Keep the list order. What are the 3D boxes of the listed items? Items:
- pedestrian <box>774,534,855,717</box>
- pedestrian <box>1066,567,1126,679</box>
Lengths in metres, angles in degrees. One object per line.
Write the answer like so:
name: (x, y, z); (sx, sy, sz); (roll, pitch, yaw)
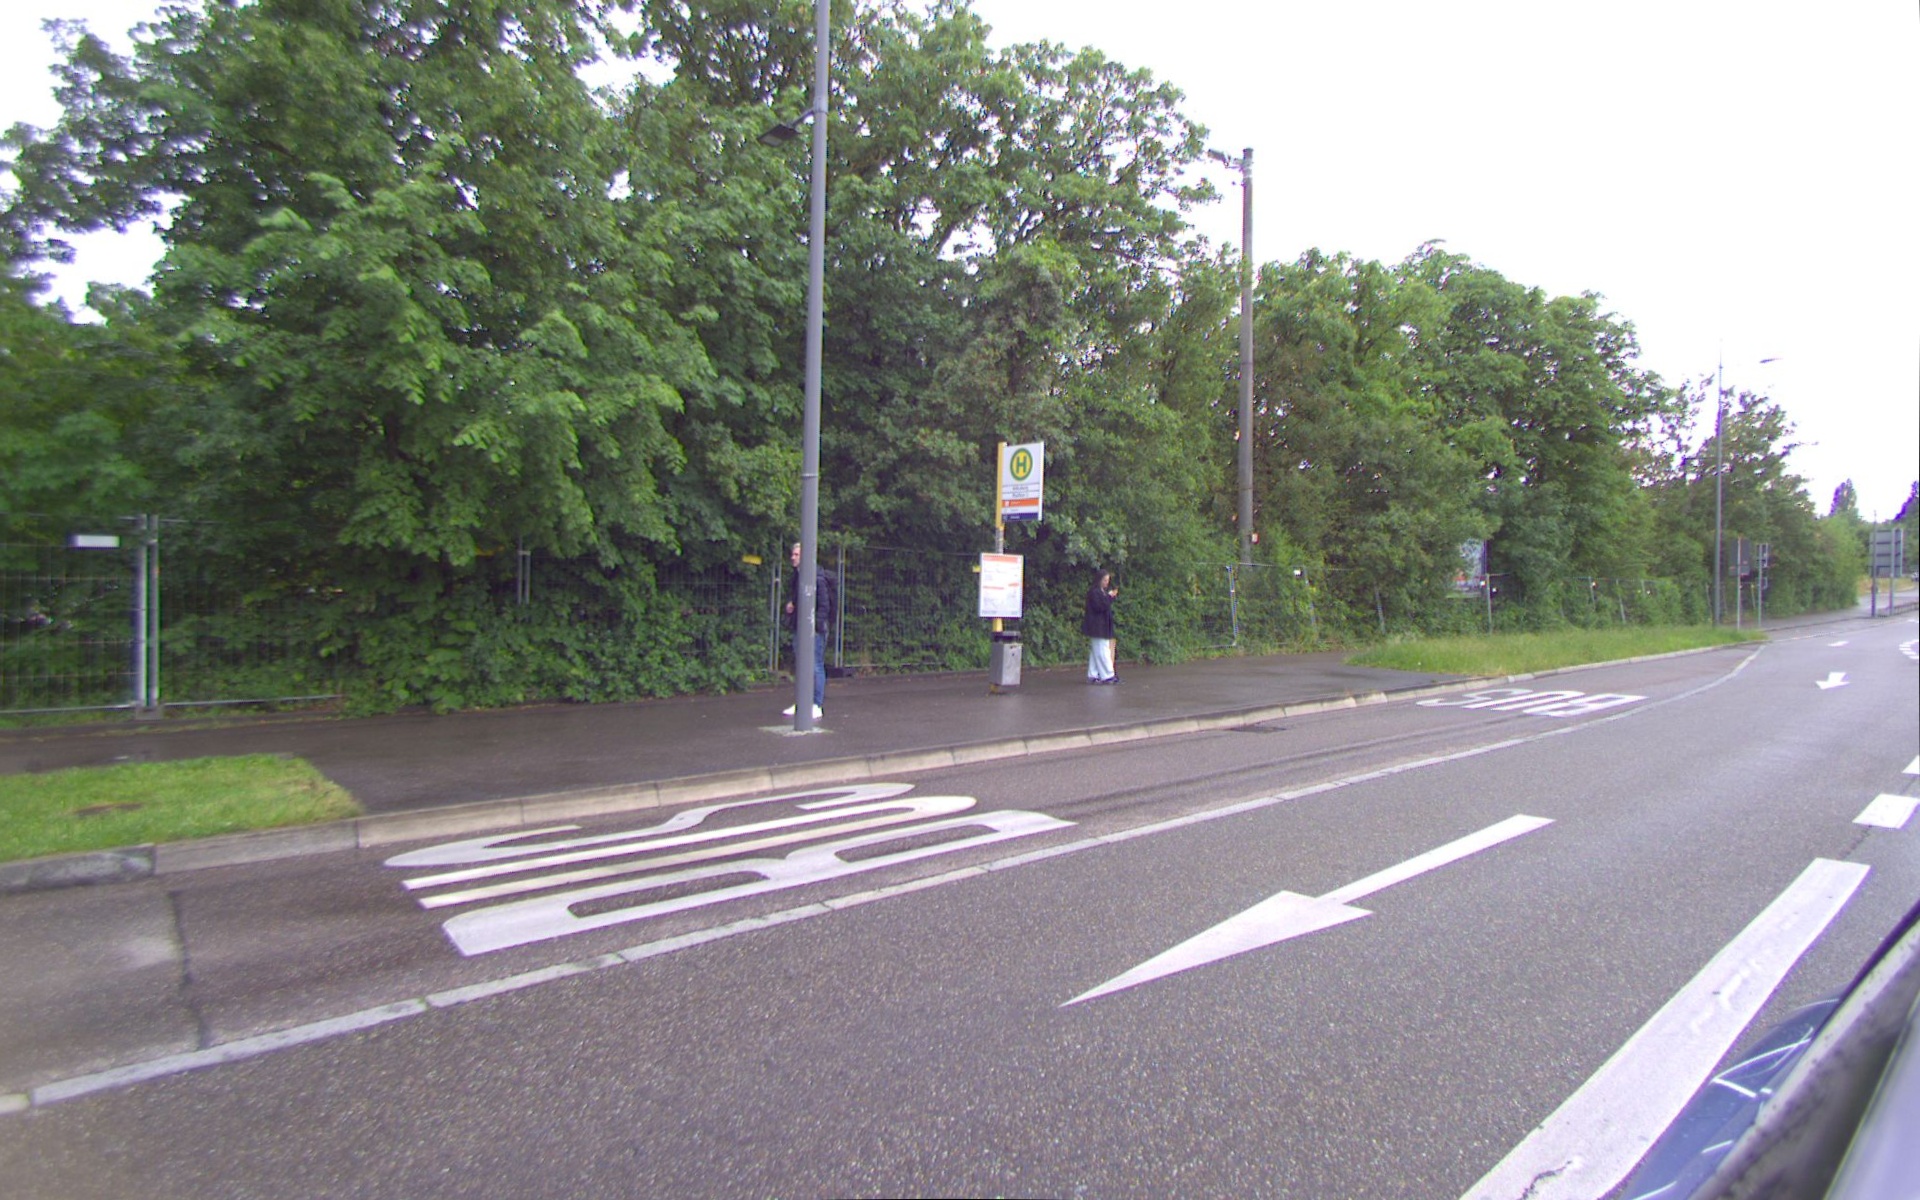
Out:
pedestrian: (-1.641, 0.265, 11.362); (0.587, 1.973, 0.742); (0, 1, -40)
pedestrian: (2.046, 0.327, 15.235); (0.650, 1.648, 0.588); (0, 1, -40)
